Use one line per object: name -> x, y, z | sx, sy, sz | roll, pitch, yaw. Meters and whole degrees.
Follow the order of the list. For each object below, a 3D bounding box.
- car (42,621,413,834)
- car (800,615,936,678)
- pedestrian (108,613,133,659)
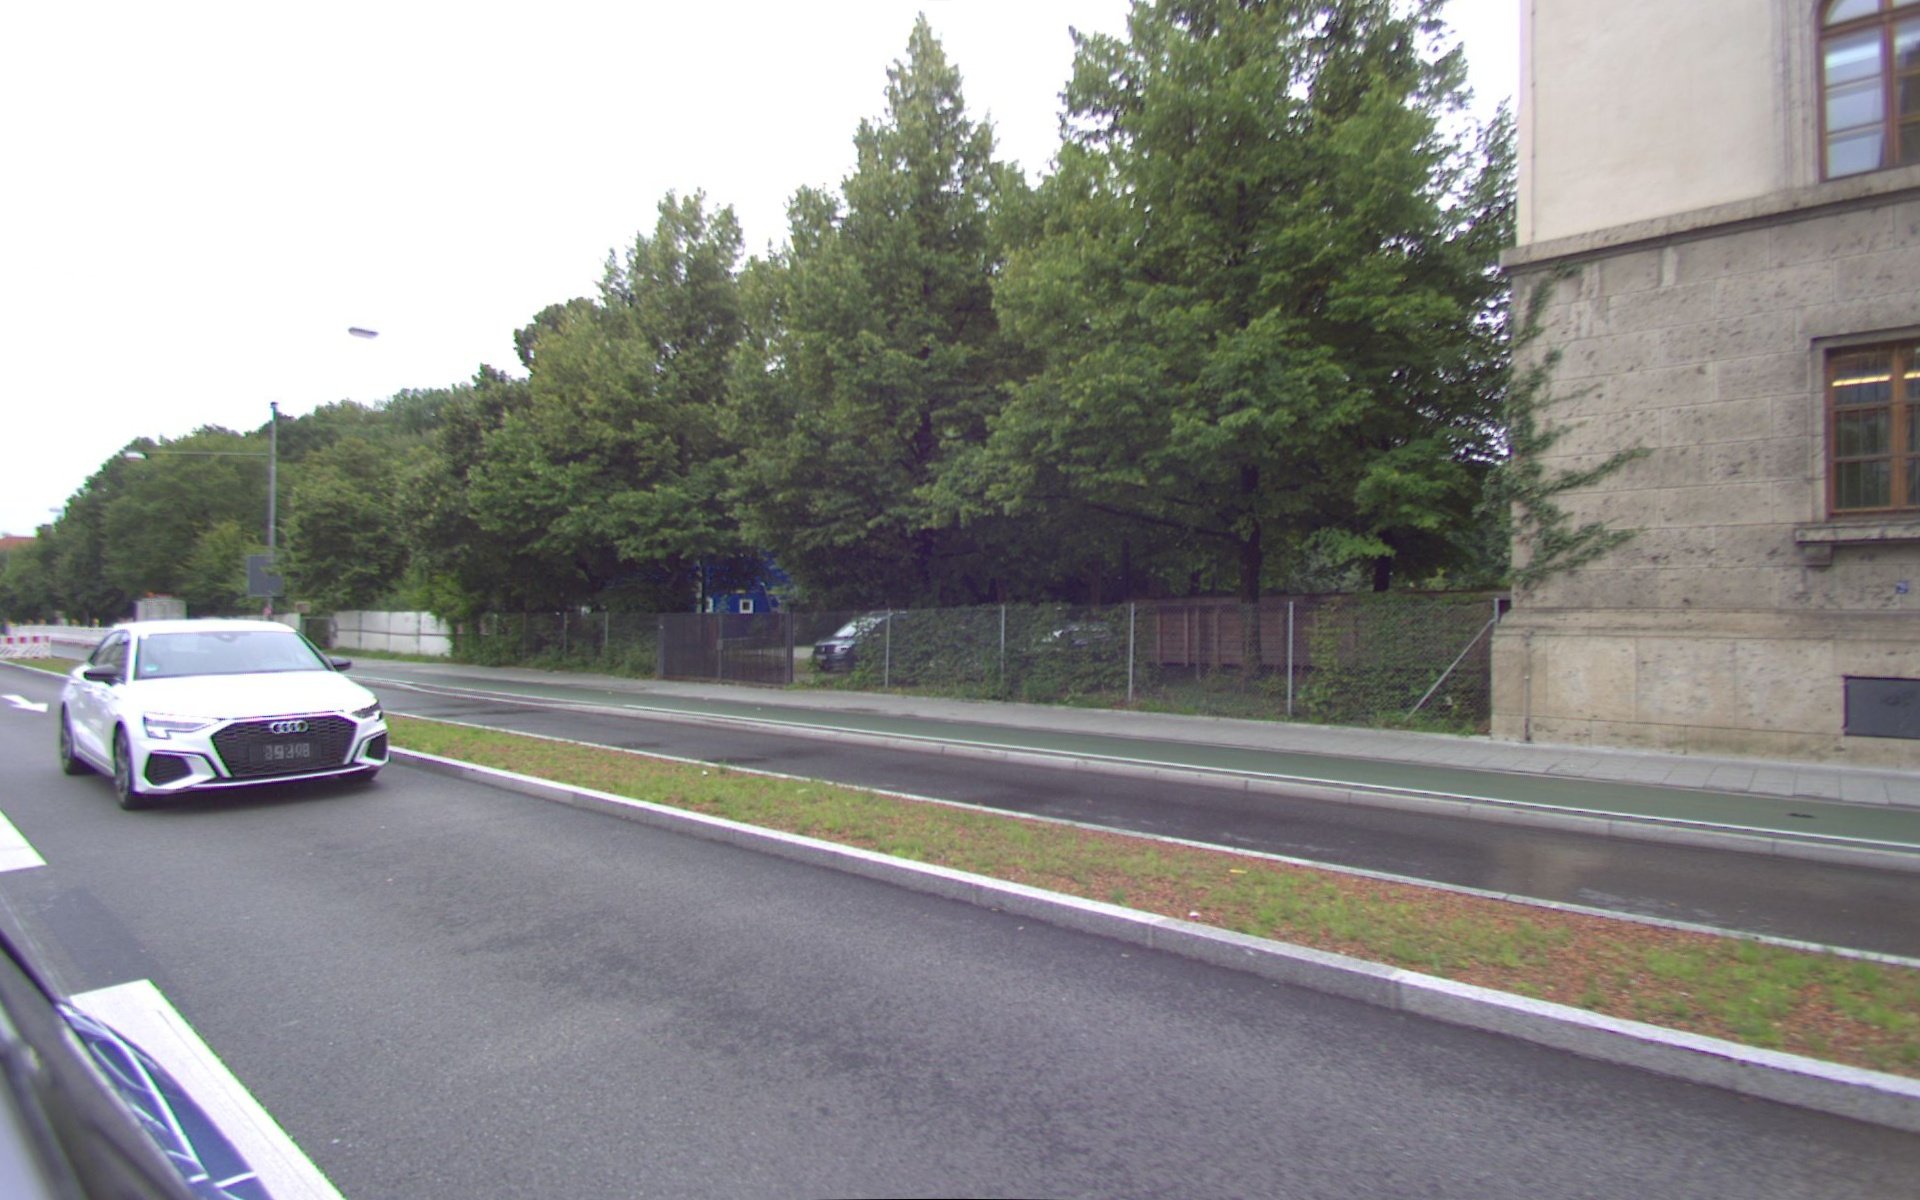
car -> -6.778, 0.931, 9.156 | 4.450, 1.435, 1.794 | -1, -1, 41
car -> -2.826, 1.397, 31.733 | 1.877, 1.722, 3.981 | 2, 1, 45
pedestrian -> -38.372, 1.637, 46.244 | 0.867, 2.029, 0.747 | -1, -1, 41
